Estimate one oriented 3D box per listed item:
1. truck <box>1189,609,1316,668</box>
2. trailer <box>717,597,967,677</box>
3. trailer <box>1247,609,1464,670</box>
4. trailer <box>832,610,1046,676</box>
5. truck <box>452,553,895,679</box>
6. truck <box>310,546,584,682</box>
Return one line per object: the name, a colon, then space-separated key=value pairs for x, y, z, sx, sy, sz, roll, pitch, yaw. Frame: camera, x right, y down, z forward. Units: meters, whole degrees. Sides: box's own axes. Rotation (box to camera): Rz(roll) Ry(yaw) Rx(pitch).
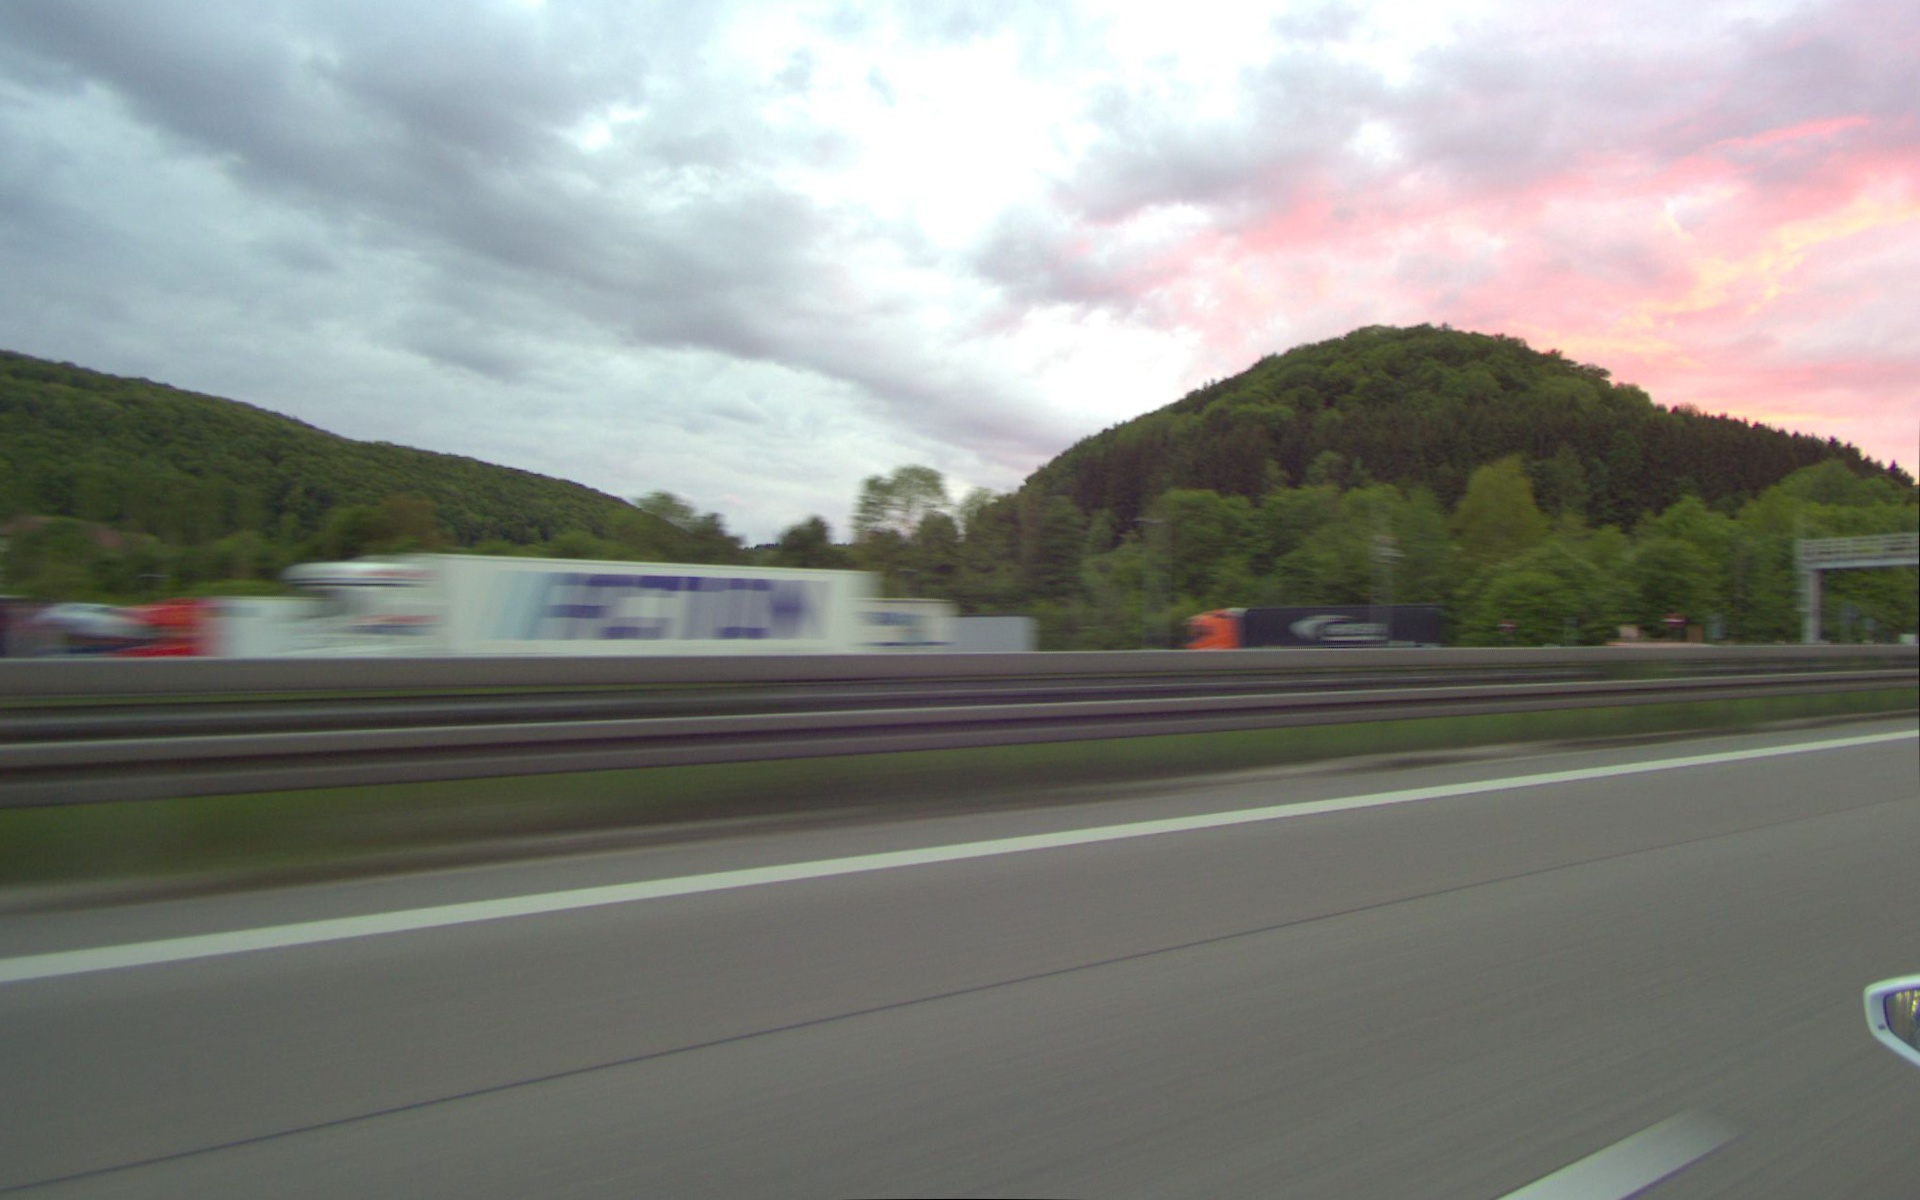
truck: x=19.222 y=2.519 z=66.411 sx=7.526 sy=3.727 sz=3.014 roll=1 pitch=-1 yaw=1
trailer: x=-5.811 y=1.870 z=51.347 sx=12.563 sy=3.727 sz=2.860 roll=1 pitch=-1 yaw=-30
trailer: x=25.949 y=2.574 z=66.331 sx=13.078 sy=3.727 sz=3.072 roll=1 pitch=-1 yaw=1
trailer: x=-1.277 y=2.877 z=67.970 sx=14.153 sy=4.160 sz=3.292 roll=0 pitch=-2 yaw=5
truck: x=-8.719 y=0.583 z=32.623 sx=13.649 sy=3.470 sz=2.855 roll=1 pitch=-1 yaw=-35
truck: x=-14.542 y=0.427 z=28.650 sx=6.656 sy=3.470 sz=2.856 roll=1 pitch=-1 yaw=-34
